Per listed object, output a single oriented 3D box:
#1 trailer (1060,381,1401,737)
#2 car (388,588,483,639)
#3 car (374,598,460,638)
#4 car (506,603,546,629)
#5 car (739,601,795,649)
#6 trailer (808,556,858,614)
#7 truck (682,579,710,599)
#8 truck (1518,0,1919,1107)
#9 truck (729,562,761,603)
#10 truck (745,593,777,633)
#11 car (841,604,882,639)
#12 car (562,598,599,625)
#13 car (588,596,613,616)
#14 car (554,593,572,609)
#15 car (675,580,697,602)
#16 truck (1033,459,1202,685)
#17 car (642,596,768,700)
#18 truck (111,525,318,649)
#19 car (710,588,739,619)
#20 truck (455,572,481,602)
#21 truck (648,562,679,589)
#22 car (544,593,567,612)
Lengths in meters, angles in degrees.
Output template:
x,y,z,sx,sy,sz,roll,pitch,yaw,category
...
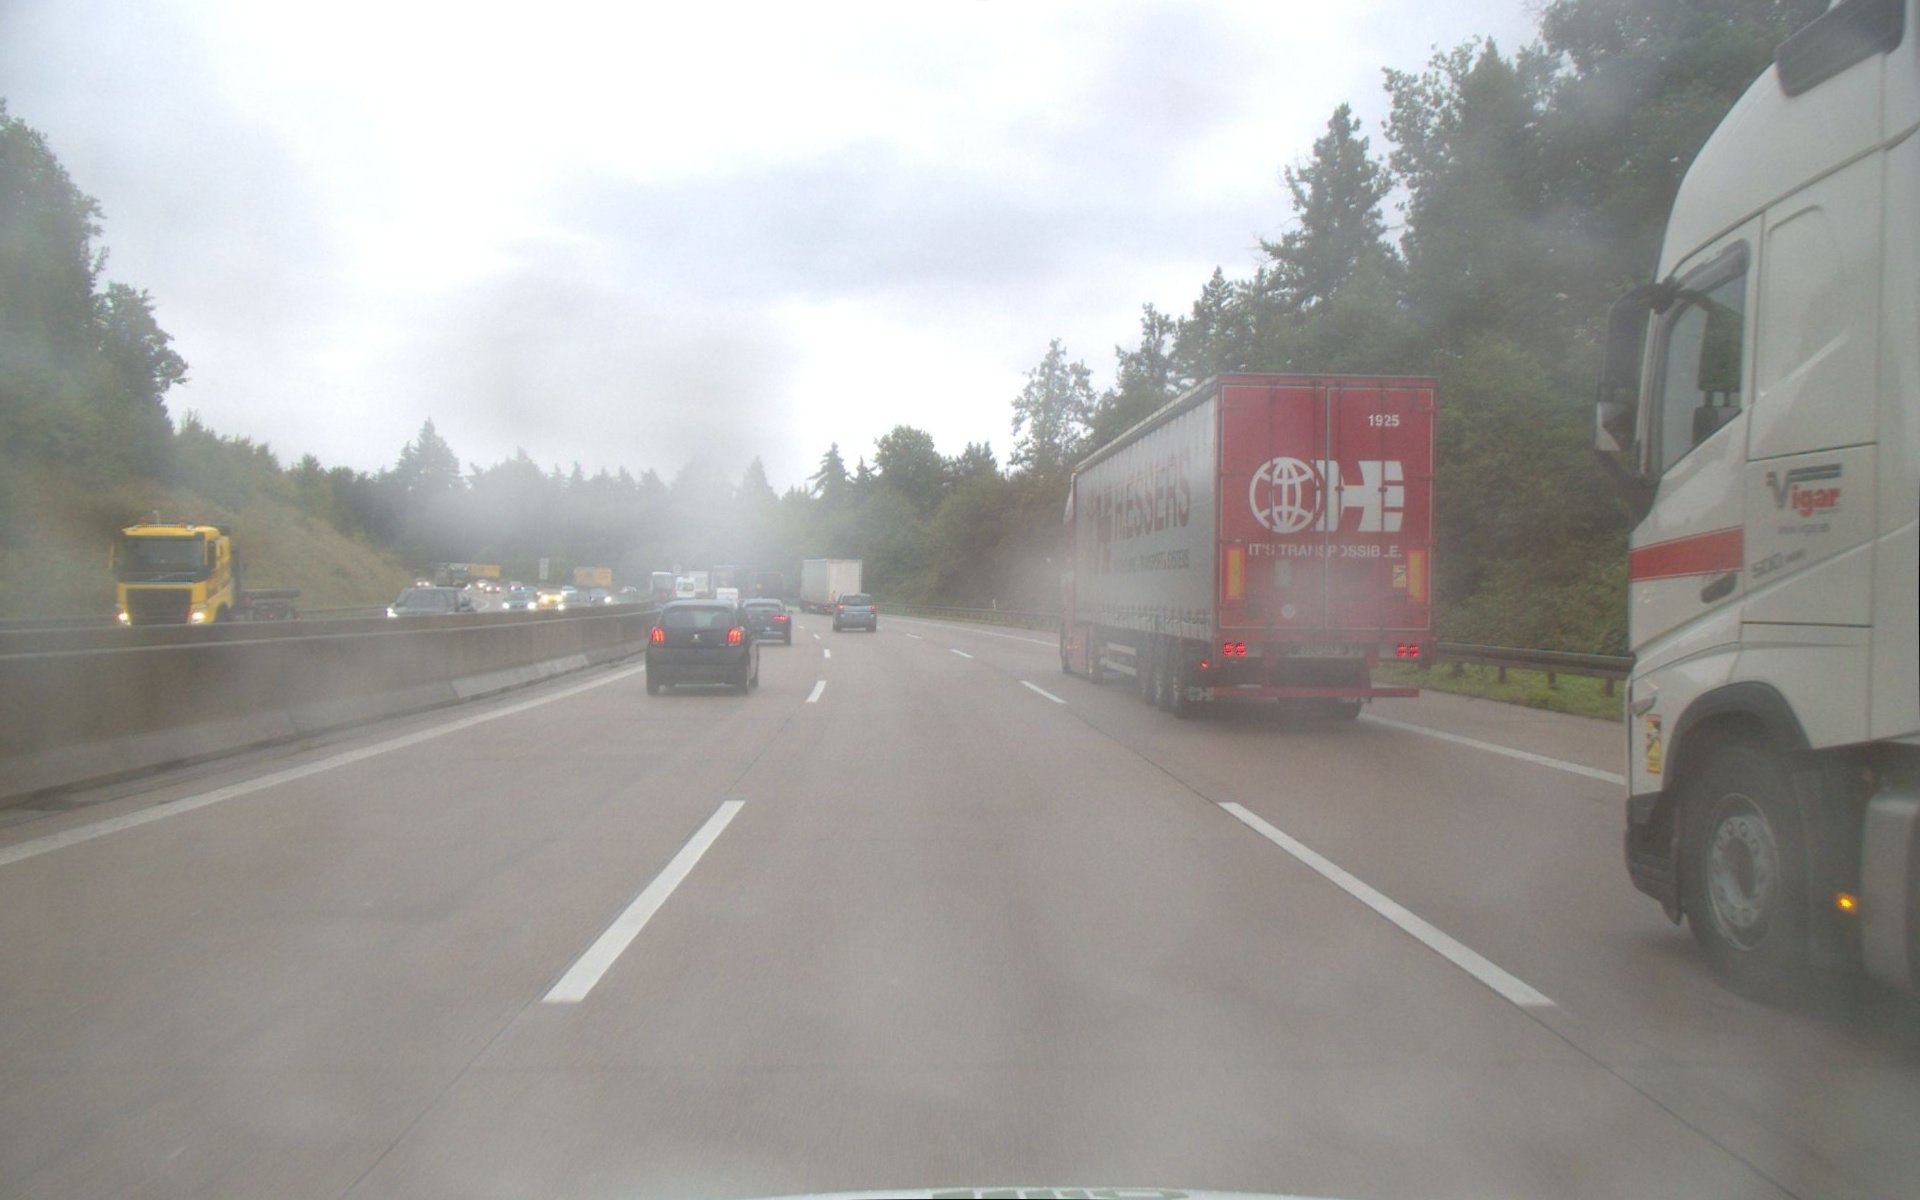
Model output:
x,y,z,sx,sy,sz,roll,pitch,yaw,category
3.474,-0.463,25.093,2.323,4.023,12.510,1,0,-4,trailer
-14.909,0.366,47.174,1.620,1.370,4.083,1,0,-4,car
-19.545,0.624,59.698,1.769,1.370,4.763,1,0,-4,car
-24.326,0.891,92.750,1.622,1.370,4.079,1,0,-7,car
-6.042,0.750,52.054,1.523,1.375,3.680,3,0,-4,car
-9.684,-1.191,125.127,2.376,4.139,12.023,1,1,-11,trailer
-33.216,-1.414,207.877,2.923,2.350,6.646,3,0,-13,truck
4.203,-0.585,5.210,2.742,4.175,5.966,1,0,-1,truck
-23.086,-1.939,177.483,3.306,4.203,10.420,1,1,-8,truck
-16.439,1.040,136.229,2.228,2.937,7.886,1,1,-10,truck
-4.213,0.896,70.933,1.522,1.375,3.683,3,0,-1,car
-19.973,0.589,87.189,1.623,1.370,4.077,1,0,-9,car
-29.617,0.483,136.431,1.830,1.575,3.991,0,0,-9,car
-43.572,0.114,181.564,1.777,1.713,3.986,0,0,-13,car
-26.169,-0.858,157.972,1.958,2.095,3.988,0,0,-12,car
2.960,-0.501,32.669,2.328,4.023,6.154,0,0,-4,truck
-4.072,0.725,26.910,1.651,1.488,3.681,3,0,-4,car
-22.087,-0.360,49.671,2.570,3.354,9.374,0,0,-4,truck
-16.239,0.237,114.028,1.695,2.049,3.645,0,0,-12,car
-67.155,-1.754,225.817,2.877,4.030,8.090,0,0,-13,truck
-34.683,-2.853,193.374,3.031,2.956,7.874,1,1,-14,truck
-33.490,0.196,137.103,1.545,1.513,4.274,0,0,-10,car
